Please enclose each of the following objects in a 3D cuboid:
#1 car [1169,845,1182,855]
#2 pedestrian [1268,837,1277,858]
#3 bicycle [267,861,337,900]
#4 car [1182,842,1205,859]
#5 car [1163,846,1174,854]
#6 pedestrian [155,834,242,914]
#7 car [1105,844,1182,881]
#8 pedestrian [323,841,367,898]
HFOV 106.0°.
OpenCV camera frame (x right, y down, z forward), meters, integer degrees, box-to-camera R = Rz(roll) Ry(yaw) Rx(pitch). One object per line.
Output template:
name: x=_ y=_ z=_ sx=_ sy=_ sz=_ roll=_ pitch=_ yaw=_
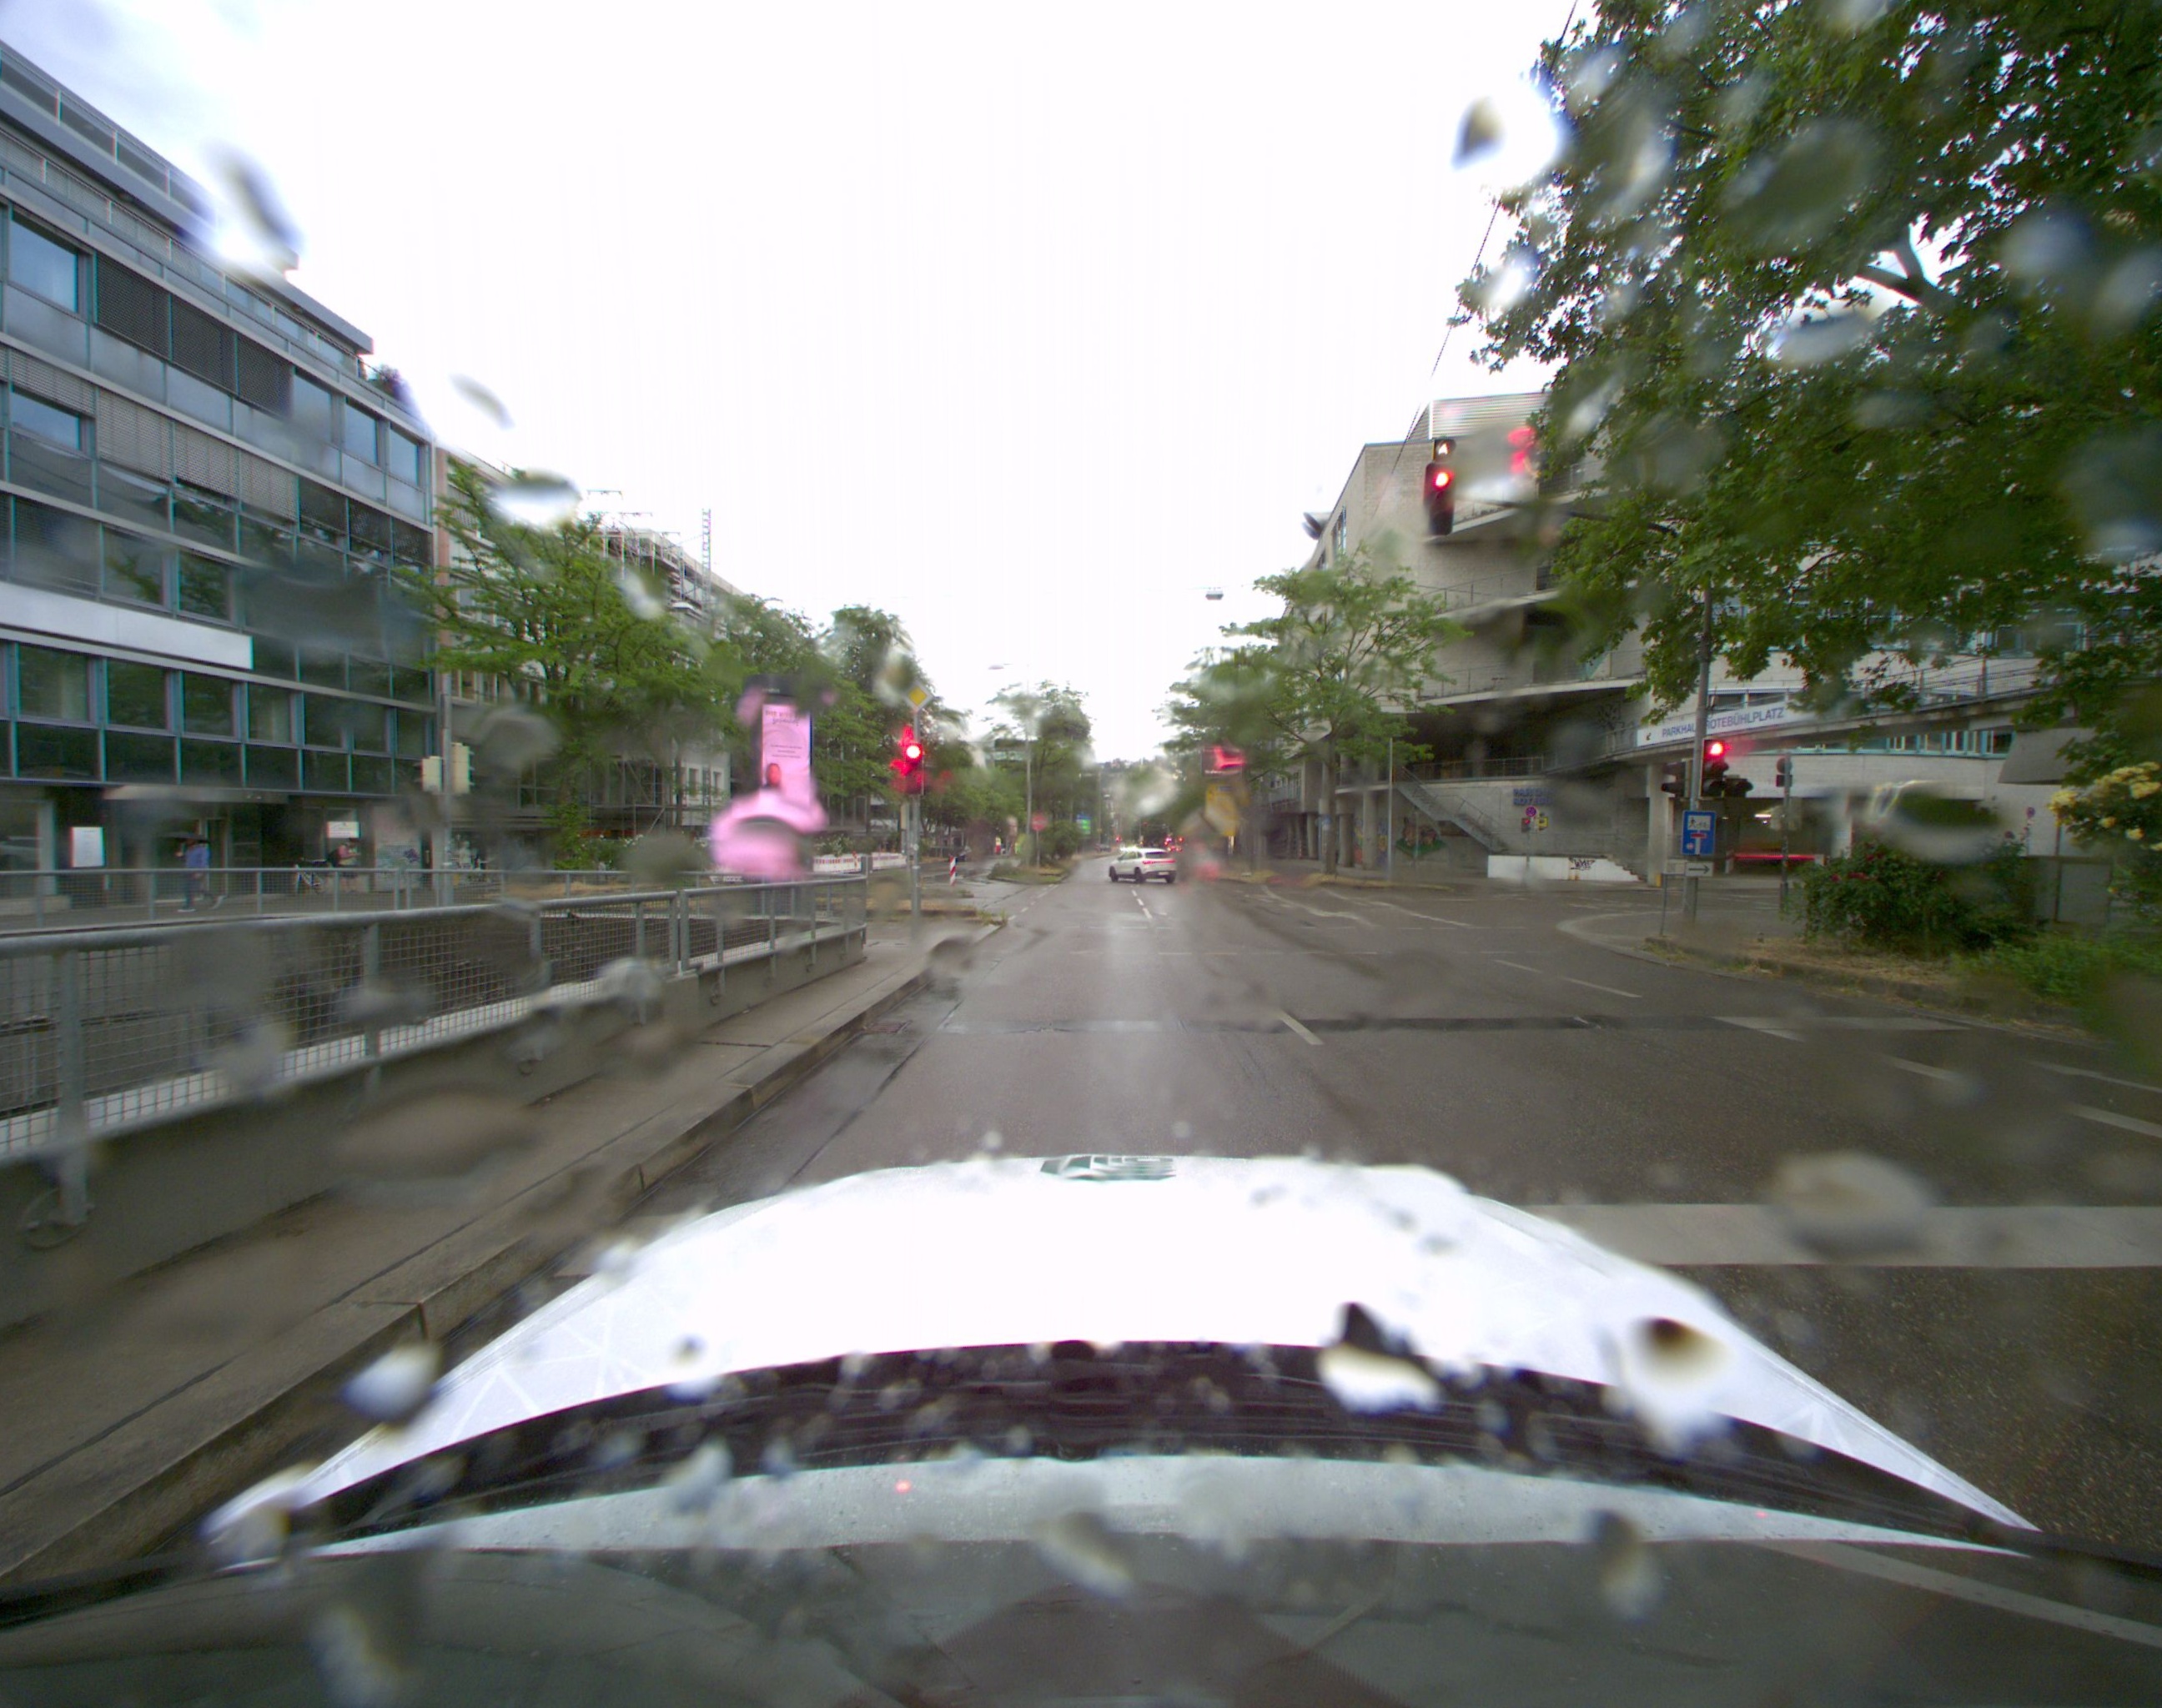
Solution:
car: x=17.552 y=-0.710 z=151.859 sx=1.986 sy=1.723 sz=4.001 roll=0 pitch=-1 yaw=1
pedestrian: x=17.743 y=-0.620 z=75.428 sx=0.770 sy=1.920 sz=0.705 roll=-1 pitch=-1 yaw=11
bicycle: x=-22.958 y=0.759 z=24.040 sx=0.444 sy=1.085 sz=1.567 roll=0 pitch=0 yaw=6
car: x=11.532 y=-0.367 z=83.346 sx=2.324 sy=1.691 sz=4.010 roll=0 pitch=0 yaw=9
car: x=17.858 y=-0.821 z=166.645 sx=1.986 sy=1.736 sz=4.001 roll=0 pitch=-1 yaw=2
pedestrian: x=-20.916 y=0.468 z=19.326 sx=0.854 sy=1.838 sz=1.060 roll=1 pitch=0 yaw=2
car: x=2.912 y=0.377 z=38.975 sx=1.837 sy=1.640 sz=4.266 roll=1 pitch=0 yaw=-24
pedestrian: x=-22.812 y=0.482 z=25.241 sx=0.694 sy=1.741 sz=0.694 roll=1 pitch=0 yaw=-4
